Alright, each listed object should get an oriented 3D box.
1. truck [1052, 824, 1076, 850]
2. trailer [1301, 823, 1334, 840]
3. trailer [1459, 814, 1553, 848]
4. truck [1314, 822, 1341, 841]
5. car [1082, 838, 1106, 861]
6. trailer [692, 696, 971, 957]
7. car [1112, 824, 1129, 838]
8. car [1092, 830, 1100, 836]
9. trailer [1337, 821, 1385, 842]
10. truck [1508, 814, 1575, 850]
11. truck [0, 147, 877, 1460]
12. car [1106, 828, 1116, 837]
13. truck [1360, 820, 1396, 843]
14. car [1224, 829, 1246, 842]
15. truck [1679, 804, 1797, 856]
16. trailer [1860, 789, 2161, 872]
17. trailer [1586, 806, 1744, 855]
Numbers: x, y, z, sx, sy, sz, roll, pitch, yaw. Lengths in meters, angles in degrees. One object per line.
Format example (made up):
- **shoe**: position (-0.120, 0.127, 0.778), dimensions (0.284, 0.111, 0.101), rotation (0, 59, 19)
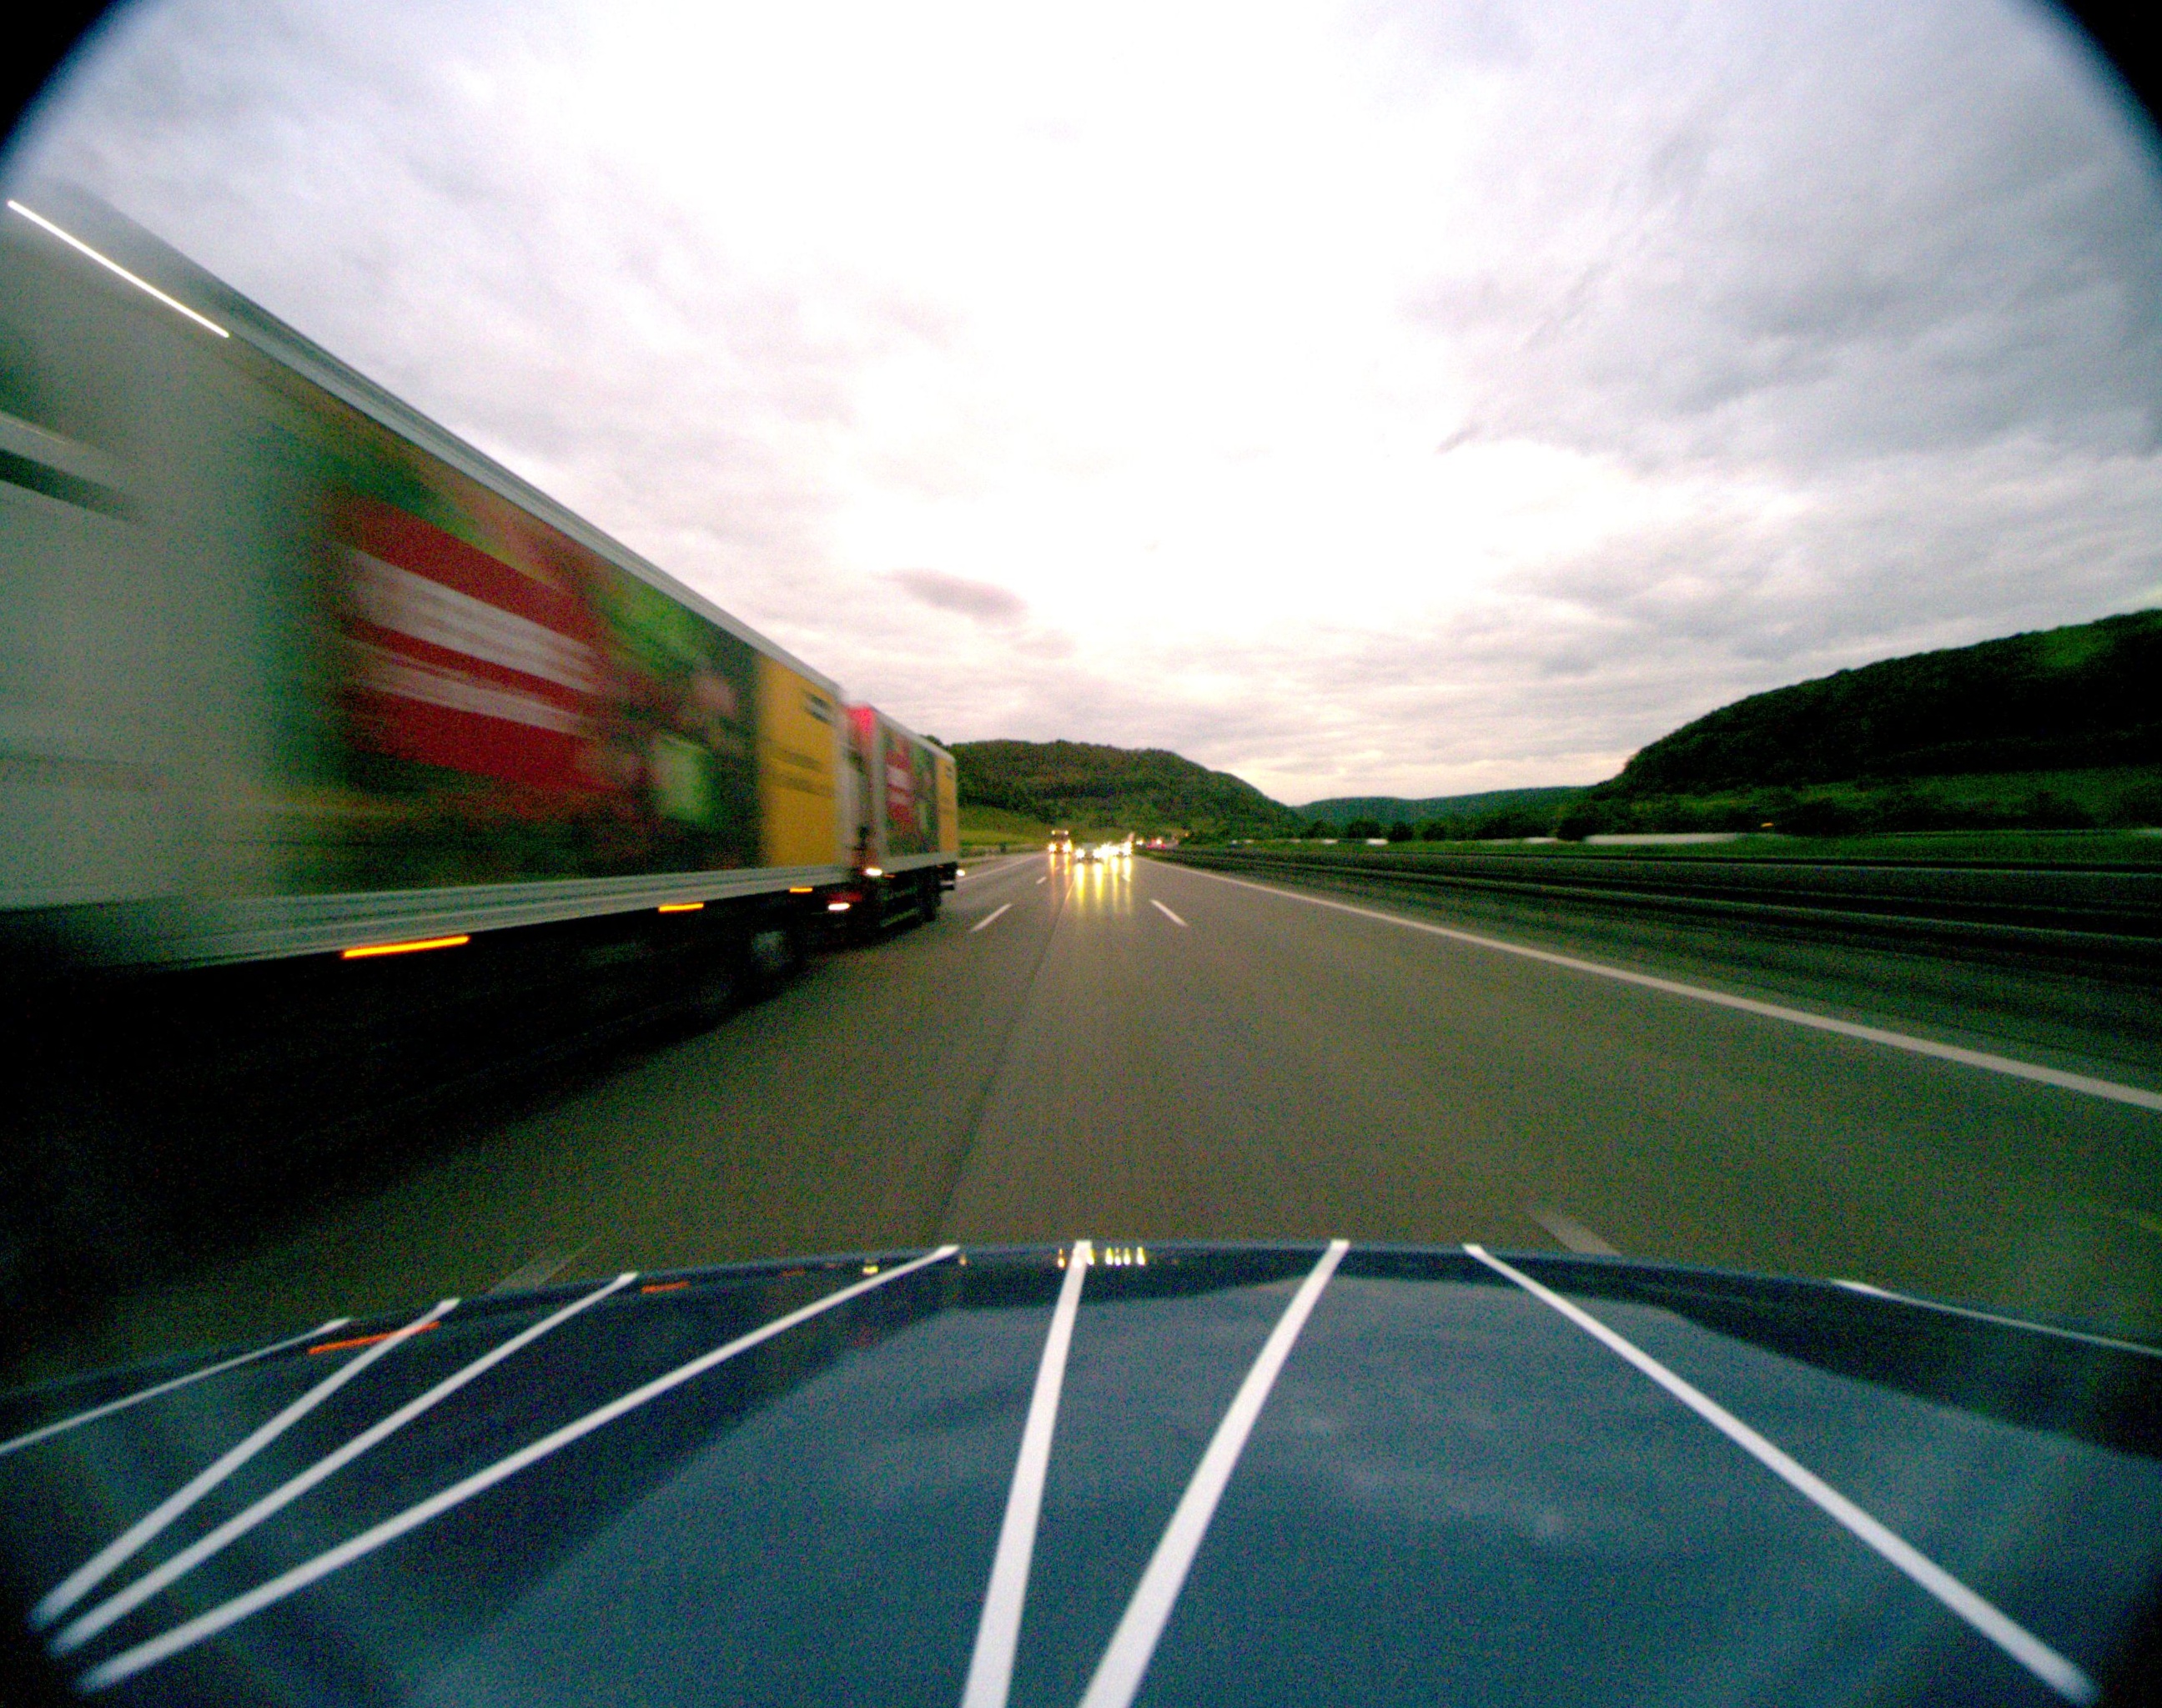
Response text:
- **truck**: position (-2.581, -2.721, 118.646), dimensions (3.119, 3.851, 14.159), rotation (1, 2, 1)
- **trailer**: position (42.865, -4.104, 138.018), dimensions (2.874, 3.071, 10.153), rotation (-1, 2, 1)
- **trailer**: position (41.452, -2.194, 74.762), dimensions (2.880, 3.036, 11.723), rotation (-1, 1, 1)
- **truck**: position (42.747, -3.913, 131.720), dimensions (2.874, 3.071, 5.891), rotation (-1, 2, 1)
- **car**: position (1.049, -0.405, 62.167), dimensions (1.927, 1.674, 4.805), rotation (-1, 2, 1)
- **trailer**: position (-4.307, -0.538, 15.650), dimensions (2.623, 3.806, 8.875), rotation (-1, 2, 1)
- **car**: position (4.671, -2.695, 90.419), dimensions (1.794, 1.492, 5.036), rotation (-2, 2, 1)
- **car**: position (4.092, -5.603, 205.615), dimensions (1.932, 1.492, 4.133), rotation (-2, 1, 2)
- **trailer**: position (42.627, -3.443, 116.150), dimensions (2.874, 3.071, 12.481), rotation (-1, 2, 1)
- **truck**: position (41.425, -1.997, 68.573), dimensions (2.874, 3.071, 5.303), rotation (-1, 2, 1)
- **truck**: position (-4.406, -0.267, 5.918), dimensions (2.623, 3.806, 10.382), rotation (-1, 2, 1)
- **car**: position (5.961, -4.307, 153.029), dimensions (1.894, 1.650, 5.637), rotation (-2, 2, 1)
- **truck**: position (42.480, -3.224, 108.928), dimensions (2.874, 3.071, 5.891), rotation (-1, 2, 1)
- **car**: position (21.429, -2.605, 105.675), dimensions (1.998, 1.692, 5.114), rotation (2, 2, 0)
- **truck**: position (41.237, -1.492, 47.945), dimensions (2.874, 3.071, 5.303), rotation (-1, 2, 1)
- **trailer**: position (41.306, -1.035, 33.217), dimensions (2.874, 3.071, 11.155), rotation (-1, 2, -1)
- **trailer**: position (41.355, -1.678, 54.544), dimensions (2.874, 3.071, 11.156), rotation (-1, 2, 1)
